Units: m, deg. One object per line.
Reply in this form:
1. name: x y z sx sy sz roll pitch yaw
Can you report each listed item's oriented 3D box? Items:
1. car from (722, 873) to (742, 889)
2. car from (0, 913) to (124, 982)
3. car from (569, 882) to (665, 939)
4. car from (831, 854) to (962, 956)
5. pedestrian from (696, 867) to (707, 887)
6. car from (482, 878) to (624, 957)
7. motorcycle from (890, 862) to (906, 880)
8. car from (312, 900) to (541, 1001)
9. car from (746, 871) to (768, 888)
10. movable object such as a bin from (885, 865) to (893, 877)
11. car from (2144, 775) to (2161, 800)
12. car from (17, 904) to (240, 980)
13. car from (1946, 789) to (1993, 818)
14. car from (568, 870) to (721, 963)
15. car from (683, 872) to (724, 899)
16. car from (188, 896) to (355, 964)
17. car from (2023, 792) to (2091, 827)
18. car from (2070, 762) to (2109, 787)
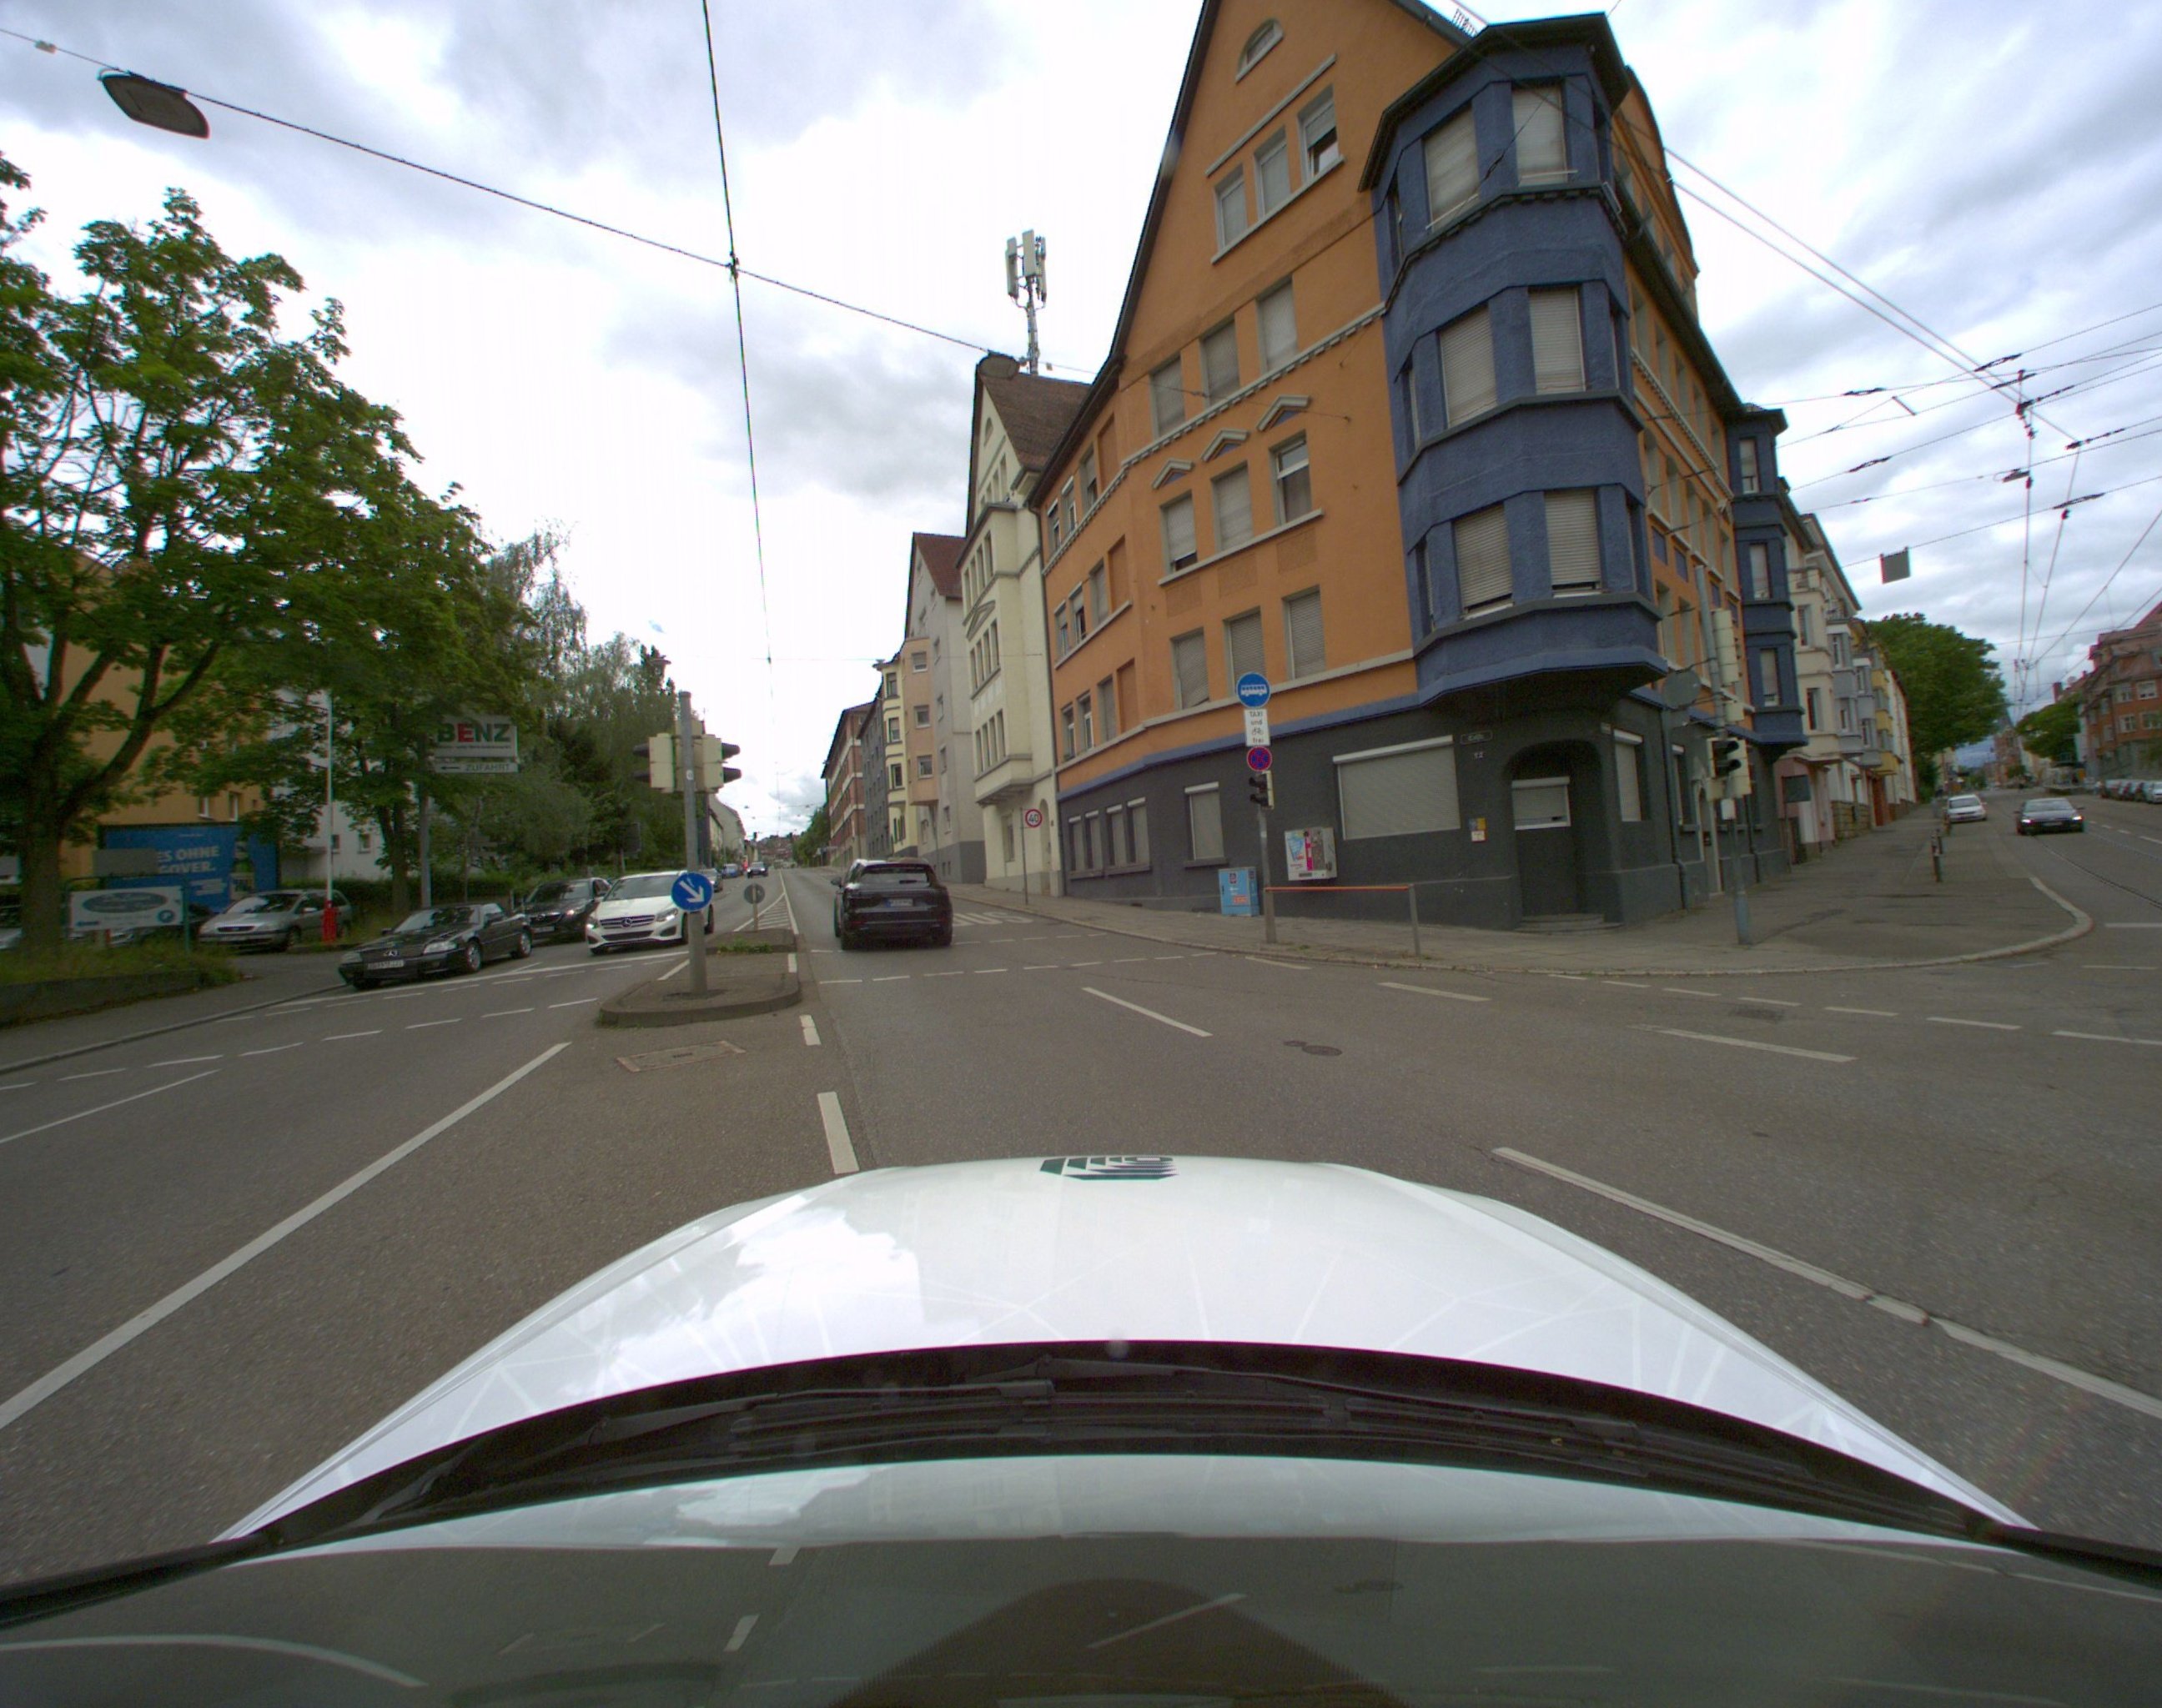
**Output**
1. car: -37.881 2.909 88.395 1.721 1.423 3.961 -5 1 -21
2. car: -26.306 2.297 20.269 1.716 1.411 3.966 0 -1 -26
3. car: -16.438 1.931 29.111 1.957 1.593 4.470 -6 1 -18
4. car: -3.768 0.906 15.997 2.030 1.641 4.327 -2 -1 -19
5. pedestrian: -36.313 2.185 77.925 0.885 1.950 0.861 -1 -1 -21
6. car: -13.952 1.593 21.849 1.957 1.642 4.387 -6 1 -18
7. motorcycle: -12.910 1.197 57.422 0.540 1.155 2.209 -6 1 -23
8. car: -12.276 1.721 15.684 1.806 1.281 4.213 -6 1 -16
9. car: -32.627 2.562 82.091 1.846 1.448 4.281 -5 0 -20
10. movable object such as a bin: -15.051 1.313 63.819 0.476 0.892 0.513 -6 1 -22
11. car: 70.142 -4.333 52.456 3.664 1.556 1.679 -3 -1 -42
12. car: -23.648 2.109 20.469 1.711 1.501 3.977 0 -1 -16
13. car: 59.253 -3.341 54.274 4.022 1.692 1.976 -3 -1 -42
14. car: -9.357 1.246 17.871 1.778 1.546 4.305 -6 1 -14
15. car: -23.109 1.889 50.026 1.846 1.448 4.281 -5 0 -20
16. car: -21.681 1.971 22.029 1.713 1.501 3.971 0 -1 -21
17. car: 41.782 -1.908 34.924 3.682 1.326 1.671 -3 -1 -42
18. car: 105.944 -8.303 85.602 4.795 2.183 2.247 -3 -1 -42
